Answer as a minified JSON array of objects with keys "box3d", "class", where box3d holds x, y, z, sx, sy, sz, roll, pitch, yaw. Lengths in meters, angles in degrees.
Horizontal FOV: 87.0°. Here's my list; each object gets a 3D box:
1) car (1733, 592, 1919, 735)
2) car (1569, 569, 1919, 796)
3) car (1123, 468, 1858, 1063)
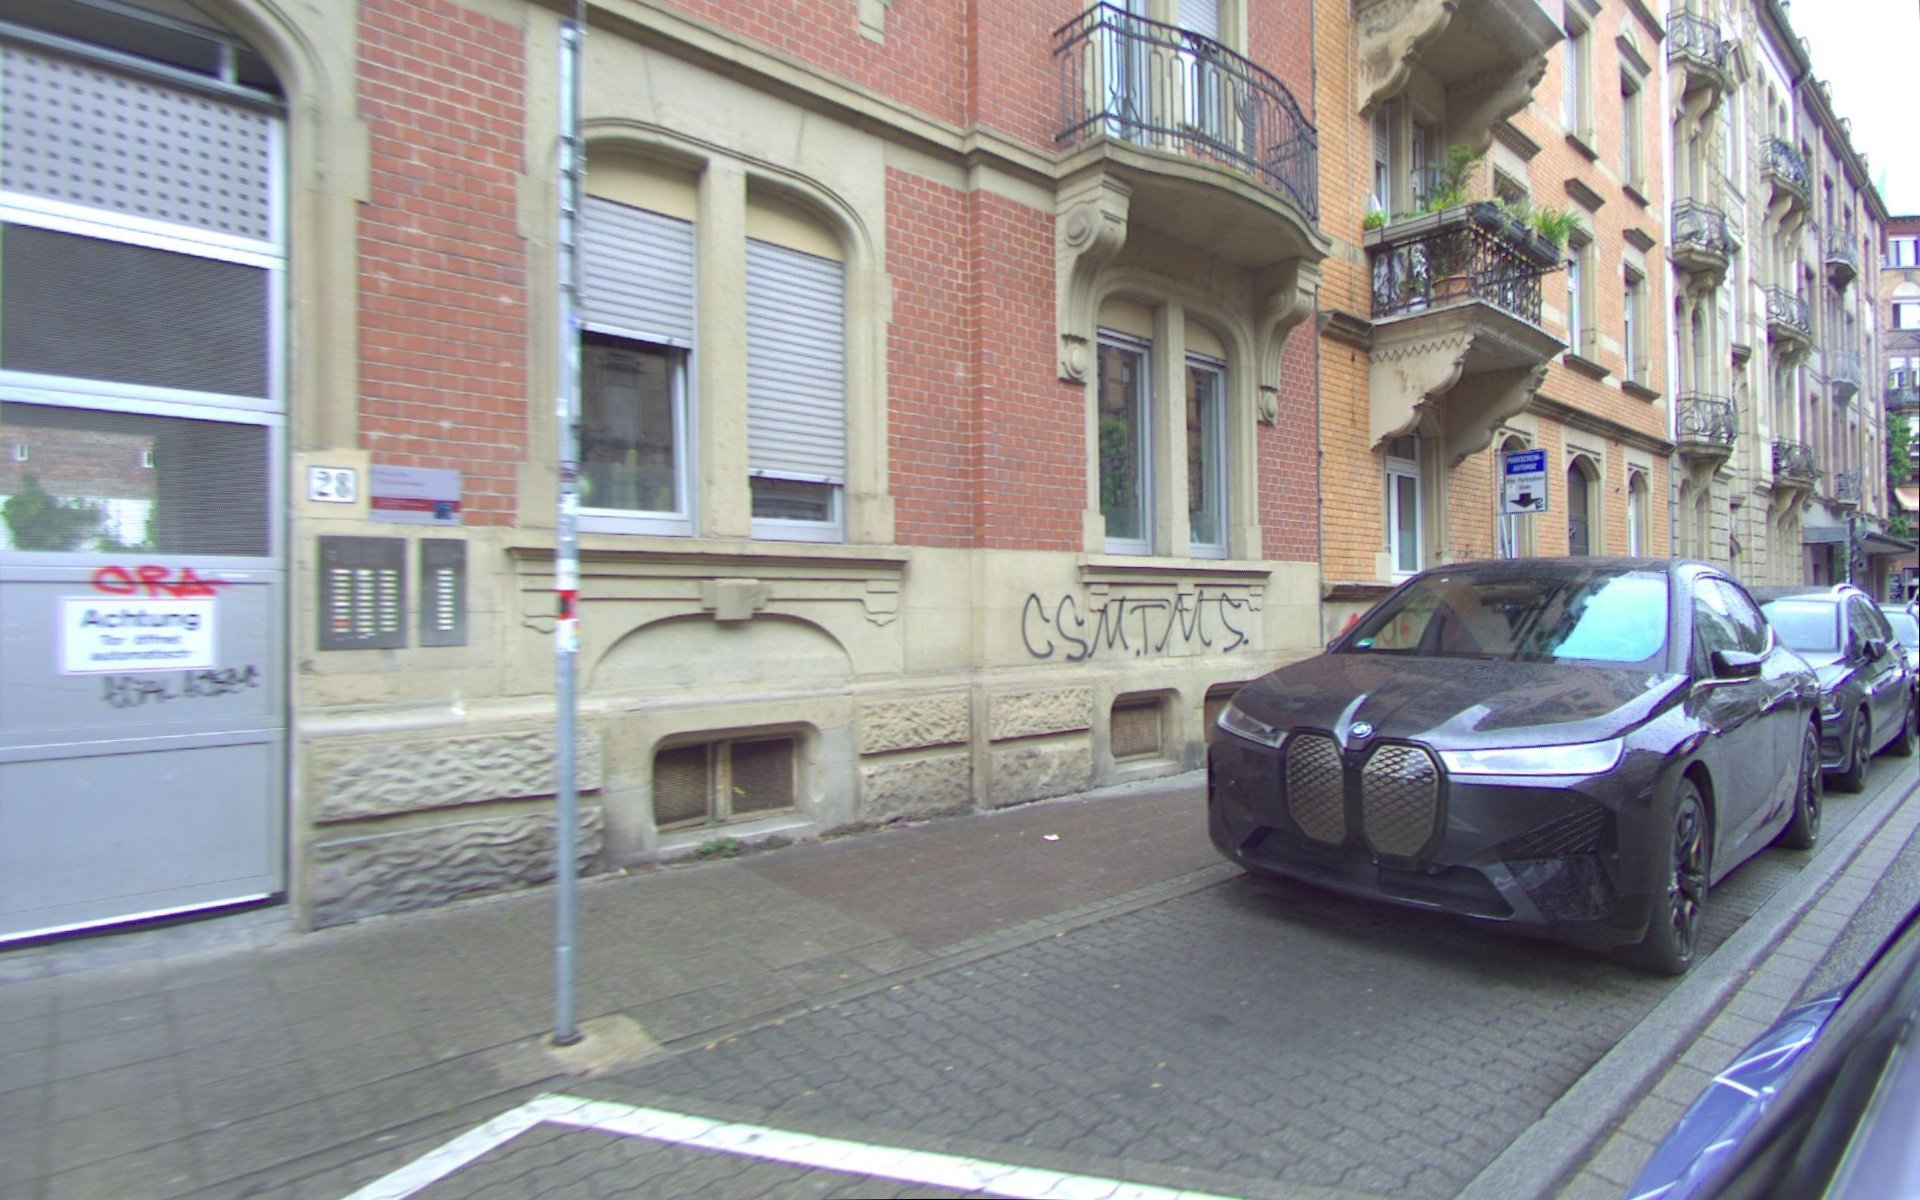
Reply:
[{"box3d":[11.245,0.657,12.512,4.405,1.485,1.790,0,-1,-41],"class":"car"},{"box3d":[7.336,0.557,9.181,4.268,1.581,1.875,0,0,-41],"class":"car"},{"box3d":[3.153,0.478,5.418,4.744,1.802,1.996,-1,0,-42],"class":"car"}]
